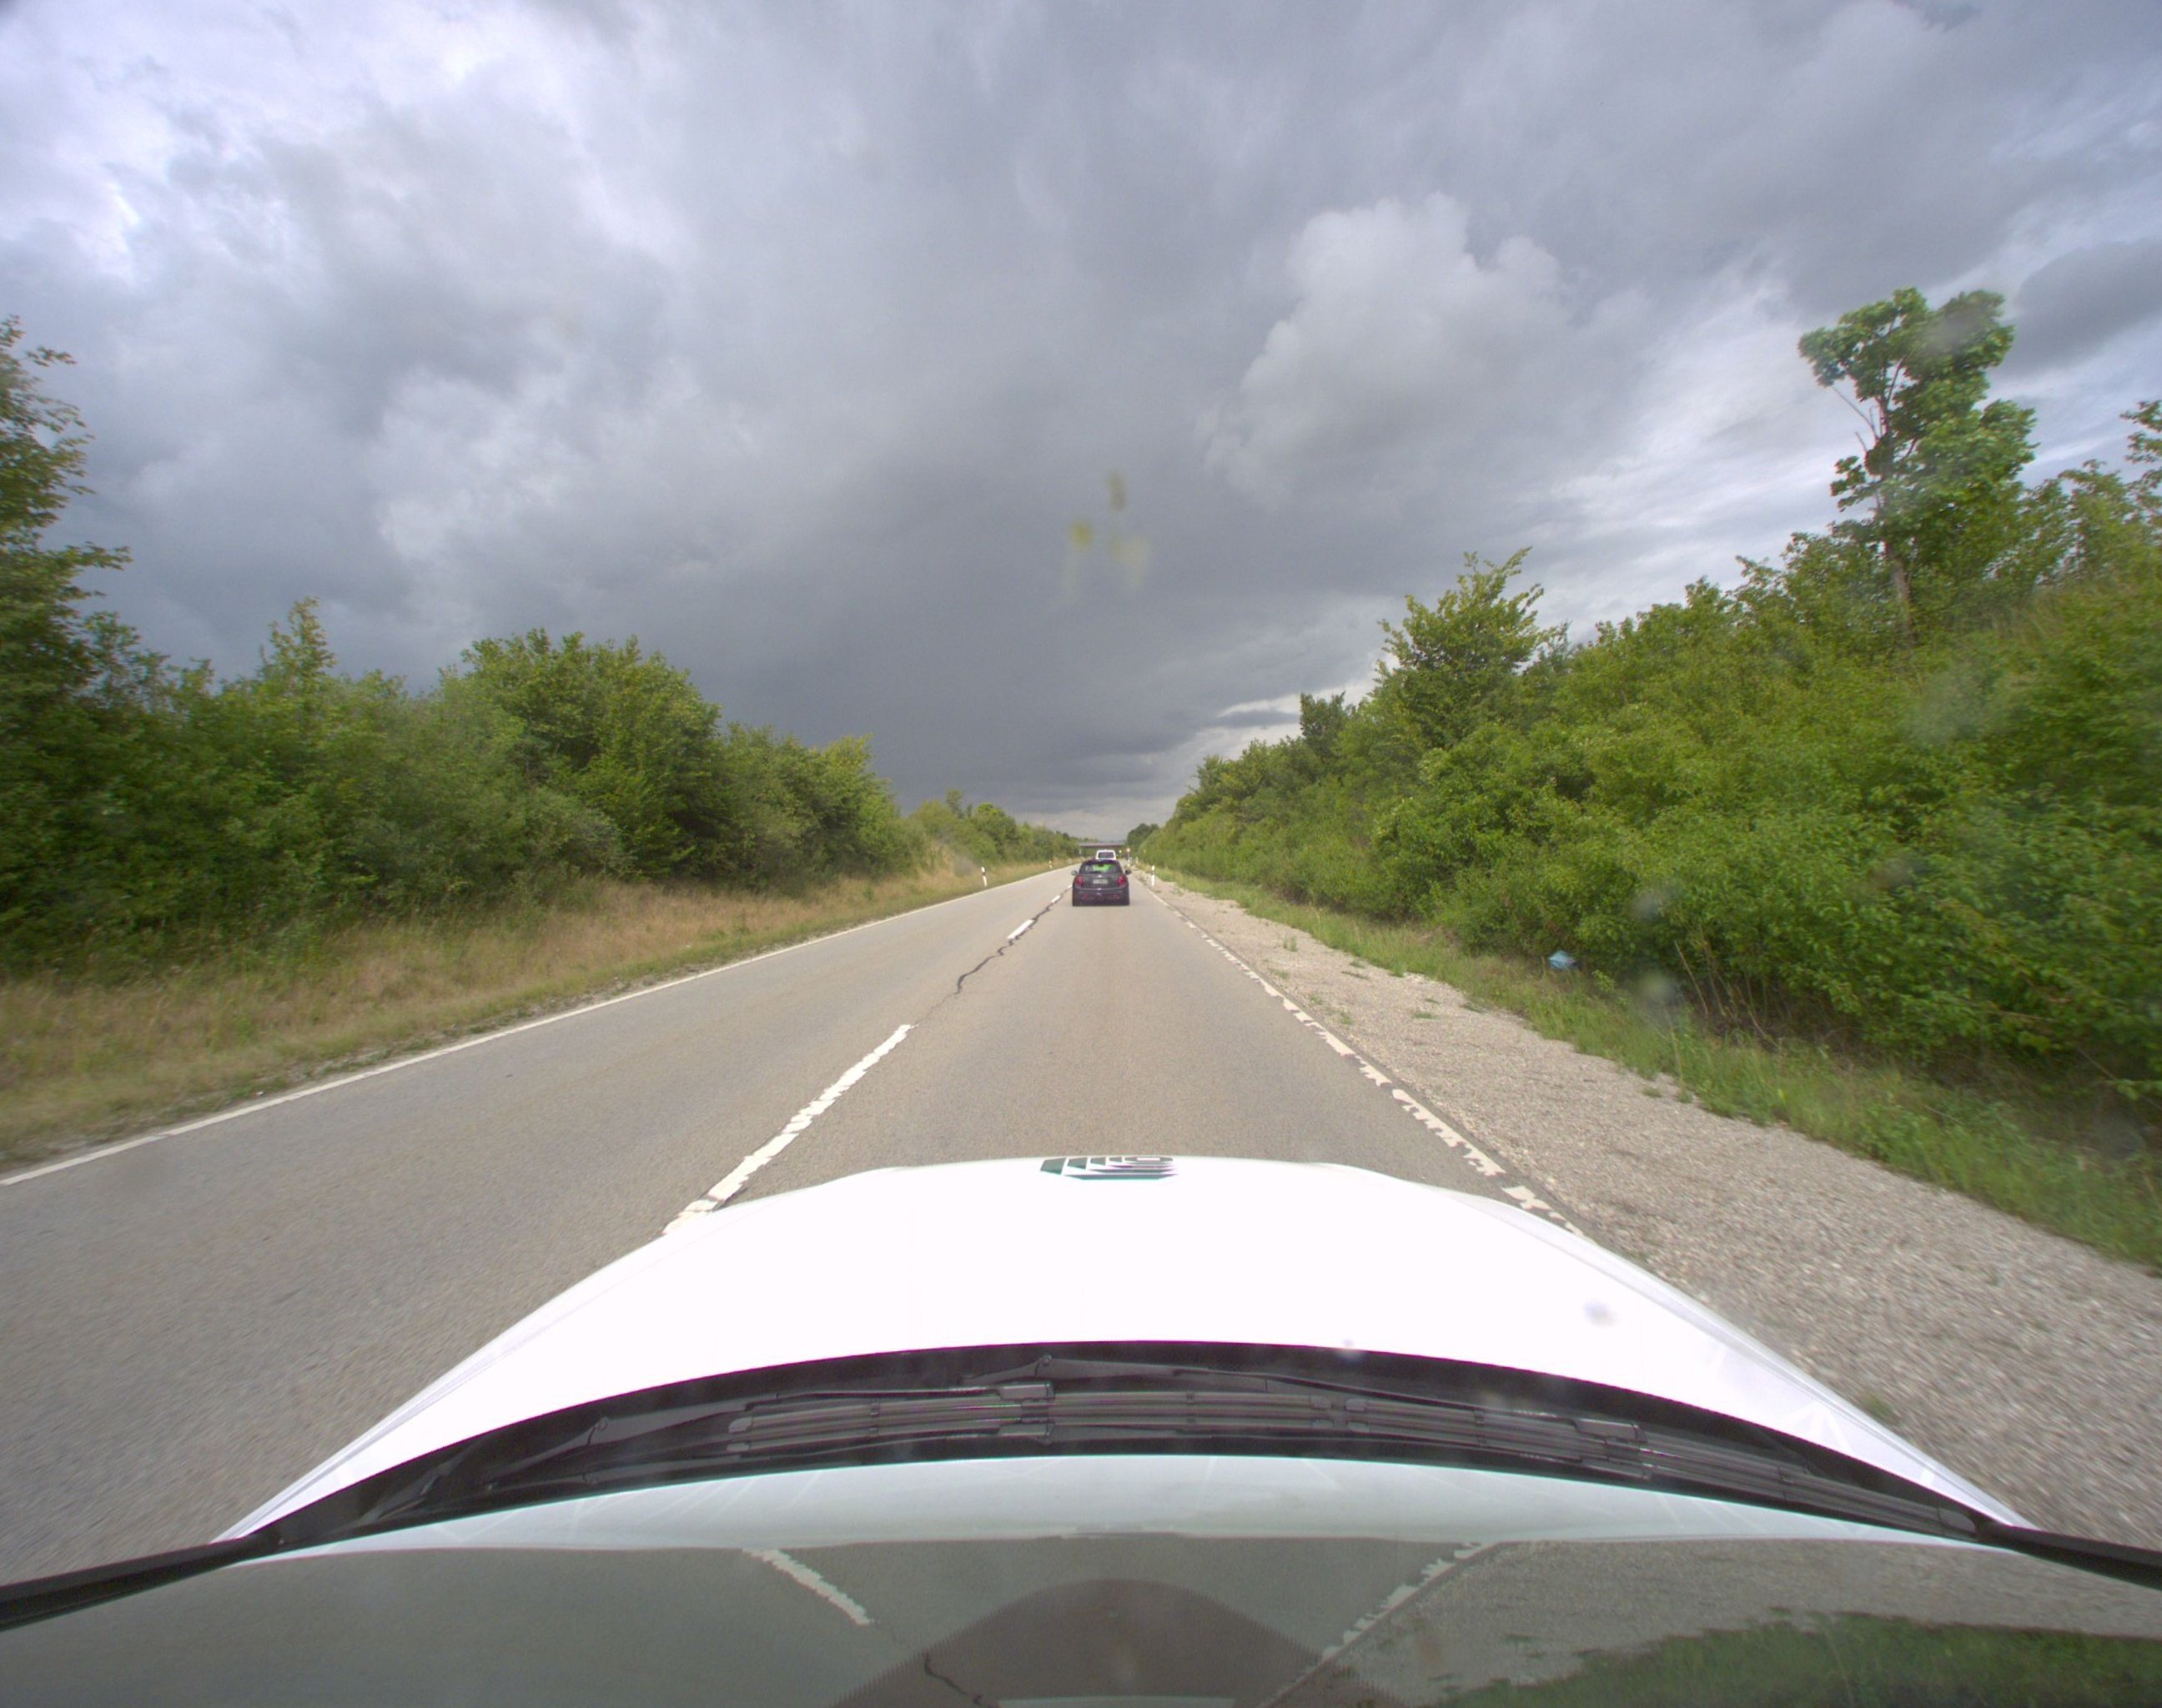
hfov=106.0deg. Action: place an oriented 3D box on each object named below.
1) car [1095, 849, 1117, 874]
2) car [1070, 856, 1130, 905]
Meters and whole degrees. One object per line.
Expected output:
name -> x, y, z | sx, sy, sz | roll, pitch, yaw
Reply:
car -> 2.196, 0.655, 70.879 | 1.813, 2.054, 4.001 | -1, 0, 1
car -> 0.623, 0.799, 25.923 | 1.750, 1.427, 4.001 | -1, 0, 1
